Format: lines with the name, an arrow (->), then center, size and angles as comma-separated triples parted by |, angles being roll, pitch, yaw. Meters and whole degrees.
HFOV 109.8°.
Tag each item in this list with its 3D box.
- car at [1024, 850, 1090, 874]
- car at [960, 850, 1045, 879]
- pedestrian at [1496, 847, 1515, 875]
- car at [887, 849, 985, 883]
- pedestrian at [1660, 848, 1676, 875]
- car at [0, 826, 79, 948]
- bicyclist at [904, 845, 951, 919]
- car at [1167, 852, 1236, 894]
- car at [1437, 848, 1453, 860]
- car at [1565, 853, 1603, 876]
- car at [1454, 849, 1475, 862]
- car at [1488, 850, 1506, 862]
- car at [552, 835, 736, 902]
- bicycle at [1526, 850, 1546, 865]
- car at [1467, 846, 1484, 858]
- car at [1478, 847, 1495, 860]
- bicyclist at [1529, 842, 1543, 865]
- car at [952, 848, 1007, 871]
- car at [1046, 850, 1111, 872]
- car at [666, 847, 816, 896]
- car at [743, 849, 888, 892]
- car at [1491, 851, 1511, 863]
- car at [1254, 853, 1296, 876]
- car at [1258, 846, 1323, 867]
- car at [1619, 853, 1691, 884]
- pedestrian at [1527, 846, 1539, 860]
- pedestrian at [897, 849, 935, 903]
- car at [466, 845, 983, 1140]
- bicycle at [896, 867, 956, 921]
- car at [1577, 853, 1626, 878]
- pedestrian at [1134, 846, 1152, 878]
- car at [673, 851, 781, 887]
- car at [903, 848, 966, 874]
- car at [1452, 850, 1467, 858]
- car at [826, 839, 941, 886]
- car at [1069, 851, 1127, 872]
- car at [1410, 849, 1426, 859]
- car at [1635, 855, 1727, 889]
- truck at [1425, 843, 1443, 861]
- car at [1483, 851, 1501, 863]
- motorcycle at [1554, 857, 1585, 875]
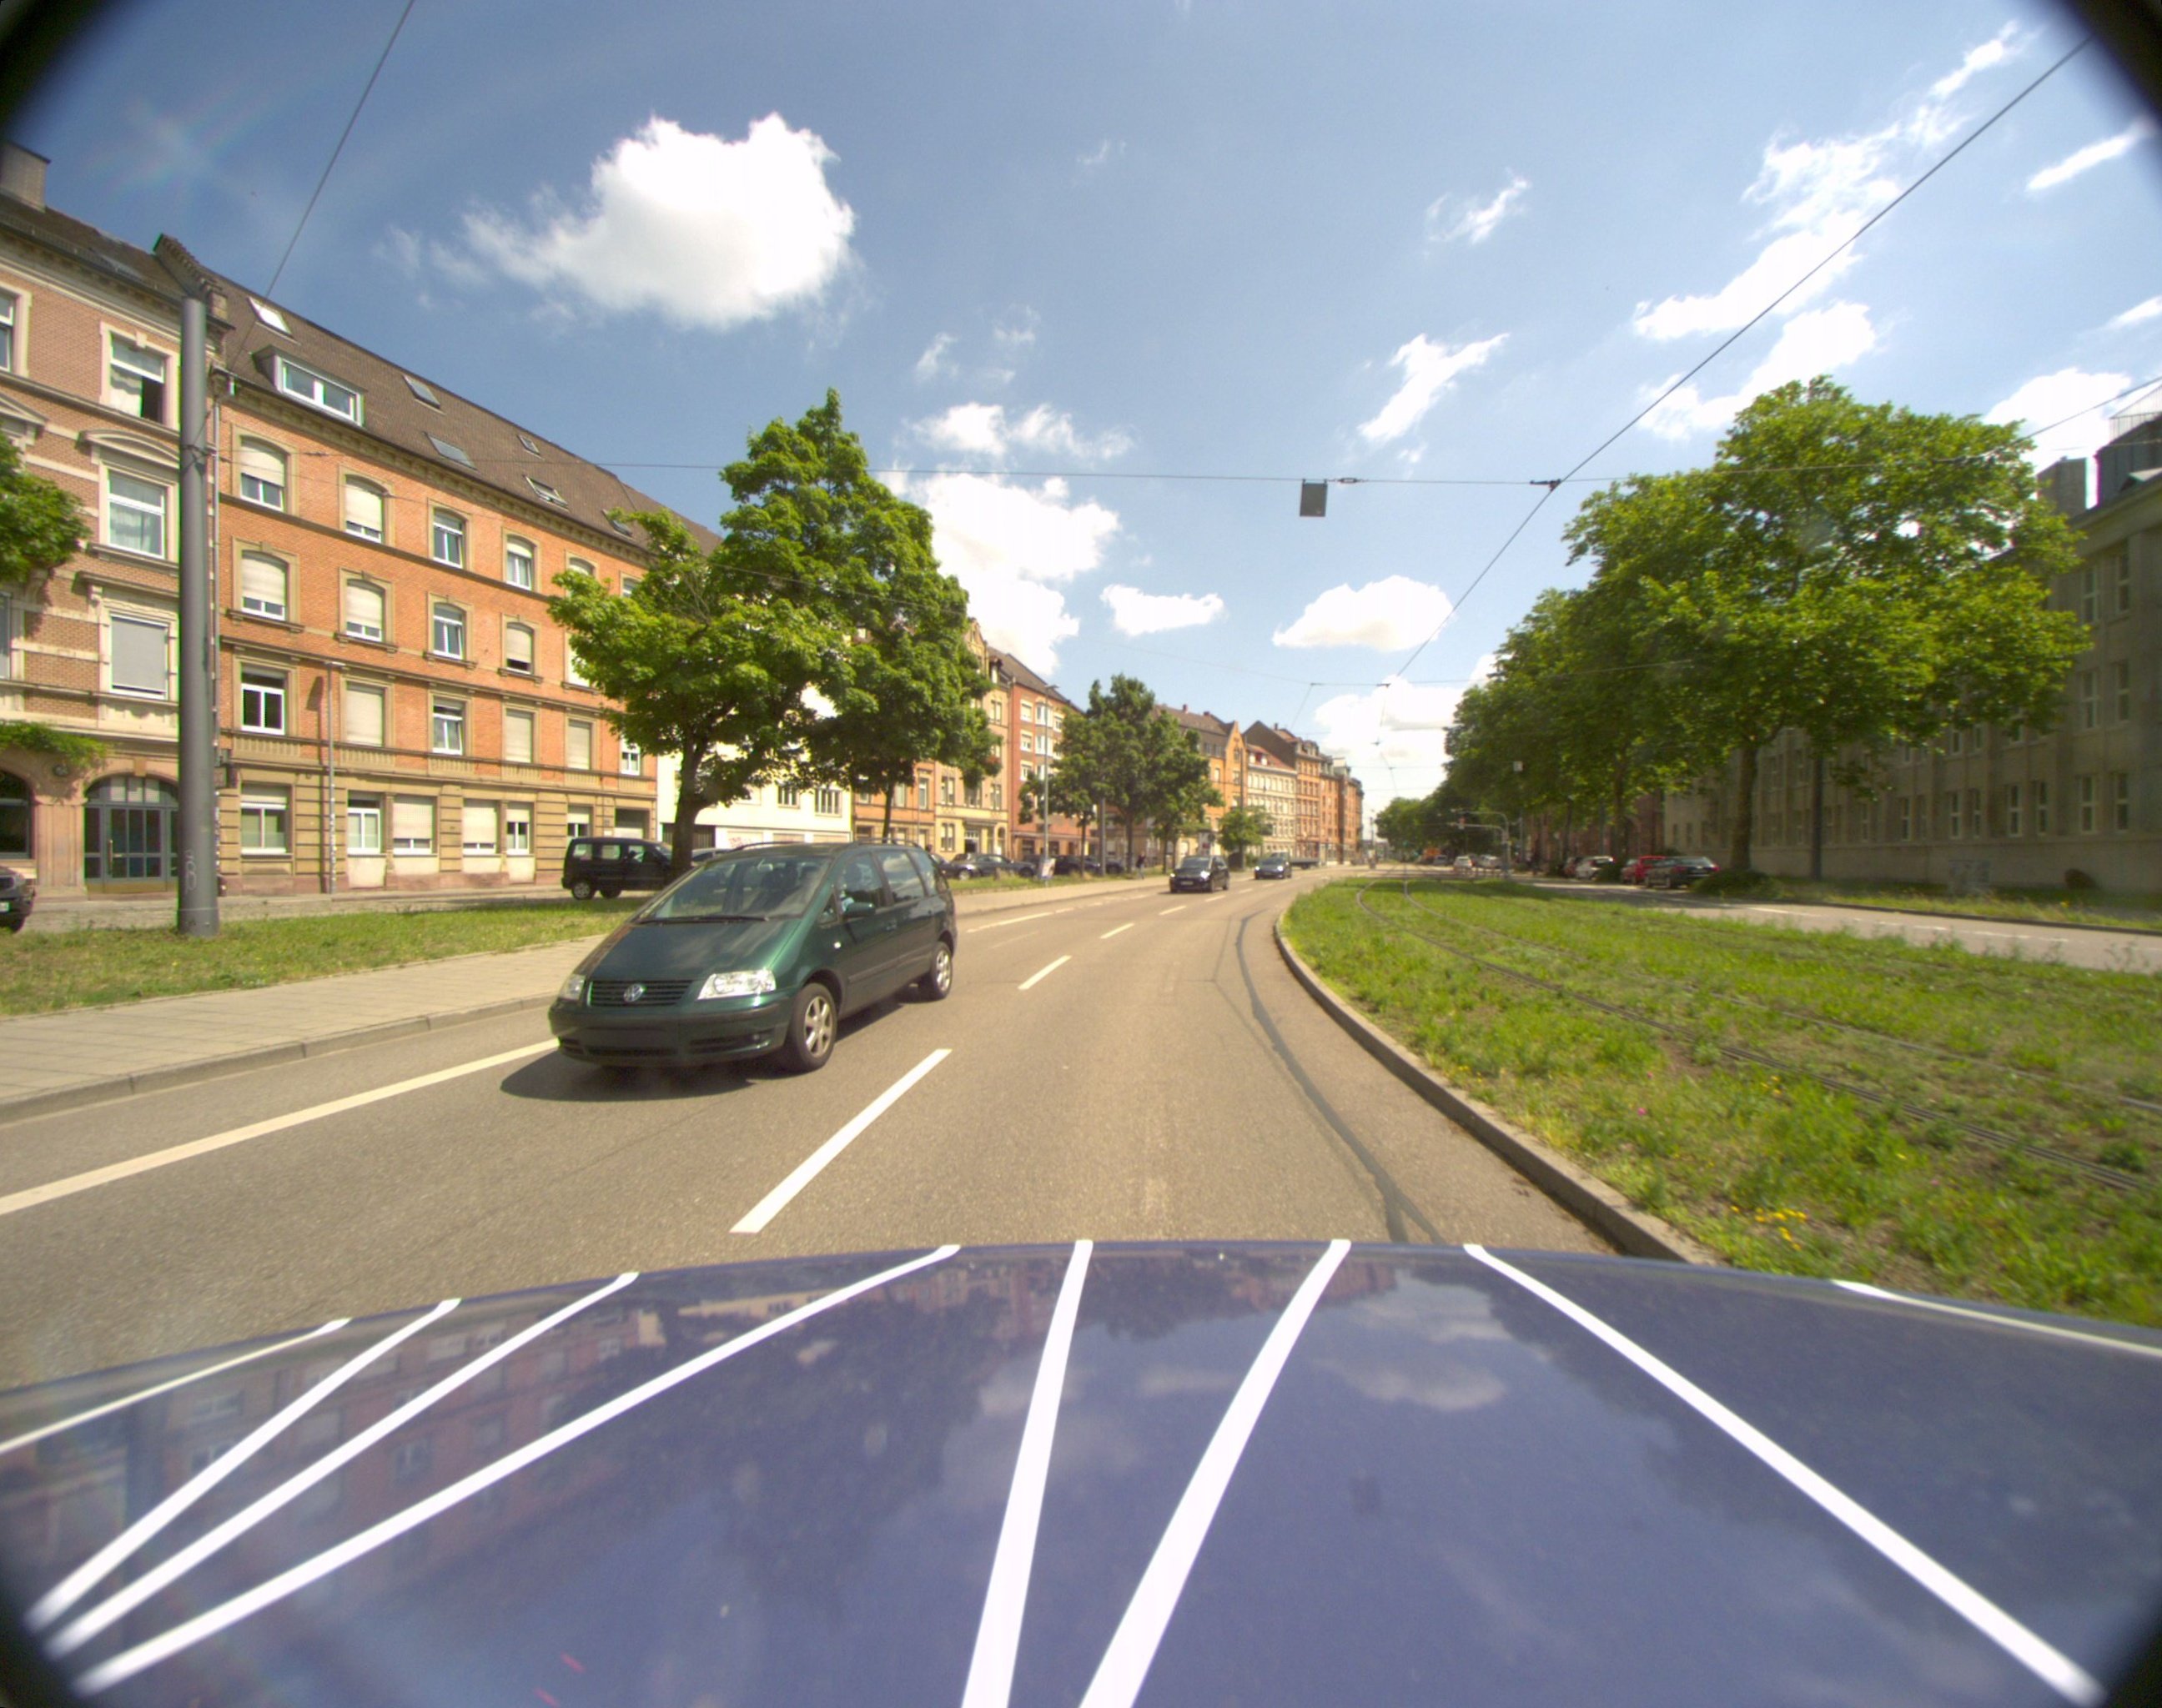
car -> -1.542, 0.482, 47.412 | 3.999, 1.372, 1.960 | -1, 0, -5
car -> -4.201, 0.550, 40.592 | 4.271, 1.372, 1.850 | -1, 0, -13
pedestrian -> 26.865, 0.433, 48.059 | 0.783, 1.694, 0.702 | -1, 1, -10
car -> -6.609, 0.520, 34.670 | 4.271, 1.372, 1.850 | -1, 0, -13
pedestrian -> 35.940, 0.447, 46.505 | 0.554, 1.582, 0.796 | -1, 1, 22
car -> -16.652, 0.490, 9.971 | 4.173, 1.646, 1.916 | -1, 0, -4
bicyclist -> -3.975, 0.715, 19.738 | 0.695, 1.814, 0.957 | 6, 3, 14
car -> 5.267, 0.771, 32.779 | 1.872, 1.610, 4.196 | -1, 1, 24
car -> 57.081, 0.005, 119.126 | 1.922, 1.736, 4.544 | 3, 2, 22
car -> 34.083, 0.711, 51.536 | 1.488, 1.445, 2.887 | -2, -1, 21
car -> 43.759, 0.189, 86.688 | 1.761, 1.471, 3.794 | 2, 1, 22
car -> 54.704, 0.293, 99.947 | 1.758, 1.488, 4.006 | -1, 0, 23
car -> -12.423, 0.386, 21.847 | 4.149, 1.731, 1.851 | -1, 1, -8
bicycle -> 34.109, 0.255, 57.018 | 0.791, 1.103, 2.279 | -1, 0, 19
car -> 66.594, -0.308, 128.254 | 1.990, 1.992, 4.091 | -1, 0, 20
car -> 58.758, -0.063, 110.088 | 1.758, 1.825, 4.006 | -1, 0, 23
bicyclist -> 34.079, -0.074, 56.893 | 0.762, 1.694, 0.784 | -1, 1, 19
car -> -7.384, 0.371, 55.697 | 1.833, 1.606, 4.503 | -1, 0, 26
car -> -0.193, 0.449, 50.079 | 4.000, 1.372, 1.960 | -1, 0, -10
car -> -10.875, 0.537, 24.586 | 4.086, 1.397, 1.850 | -1, 0, -12
car -> -9.518, 0.561, 27.606 | 4.694, 1.372, 1.850 | -1, 0, -11
car -> 52.905, 0.350, 95.714 | 1.758, 1.488, 4.006 | -1, 0, 23
car -> 12.573, 0.660, 49.121 | 1.911, 1.386, 4.320 | -1, 1, 24
car -> 24.198, 0.248, 87.851 | 6.964, 2.360, 2.266 | 0, 1, 21
car -> 28.454, 0.701, 37.817 | 1.928, 1.411, 4.057 | -2, -1, 23
pedestrian -> 41.295, -0.105, 69.374 | 0.756, 1.205, 0.914 | -5, -1, 25
pedestrian -> -5.045, 0.647, 23.217 | 0.701, 1.583, 0.906 | 3, 2, 22
car -> -2.540, 0.814, 7.129 | 1.822, 1.746, 5.034 | -1, 1, 9
bicycle -> -4.005, 1.009, 19.747 | 0.694, 1.235, 1.841 | 6, 2, 14
car -> 32.270, 0.717, 47.186 | 1.748, 1.445, 3.497 | -2, -1, 21
pedestrian -> 3.451, 0.438, 42.288 | 0.701, 1.695, 1.046 | 2, 2, 22
car -> -15.808, 0.620, 34.159 | 1.834, 1.483, 4.233 | -1, 0, 23
car -> -9.666, 0.437, 50.448 | 1.834, 1.606, 4.502 | -1, 0, 23
car -> 72.739, -0.059, 146.012 | 1.759, 1.488, 4.005 | -1, 0, 16
car -> -7.985, 0.316, 31.018 | 4.368, 1.731, 1.850 | -1, 1, -13
car -> 1.169, 0.524, 53.248 | 3.997, 1.346, 1.961 | -1, 0, 1
car -> 80.587, -0.009, 181.535 | 1.762, 2.172, 3.997 | -1, 0, -6
car -> 26.055, 0.758, 33.156 | 1.928, 1.361, 4.324 | -2, -1, 21
truck -> 64.253, -0.472, 138.301 | 2.641, 3.089, 7.234 | 2, 2, 23
car -> 56.387, 0.419, 104.221 | 1.758, 1.488, 4.006 | -1, 0, 23
motorcycle -> 36.168, 0.866, 56.227 | 2.108, 1.168, 0.544 | -3, -3, -15
